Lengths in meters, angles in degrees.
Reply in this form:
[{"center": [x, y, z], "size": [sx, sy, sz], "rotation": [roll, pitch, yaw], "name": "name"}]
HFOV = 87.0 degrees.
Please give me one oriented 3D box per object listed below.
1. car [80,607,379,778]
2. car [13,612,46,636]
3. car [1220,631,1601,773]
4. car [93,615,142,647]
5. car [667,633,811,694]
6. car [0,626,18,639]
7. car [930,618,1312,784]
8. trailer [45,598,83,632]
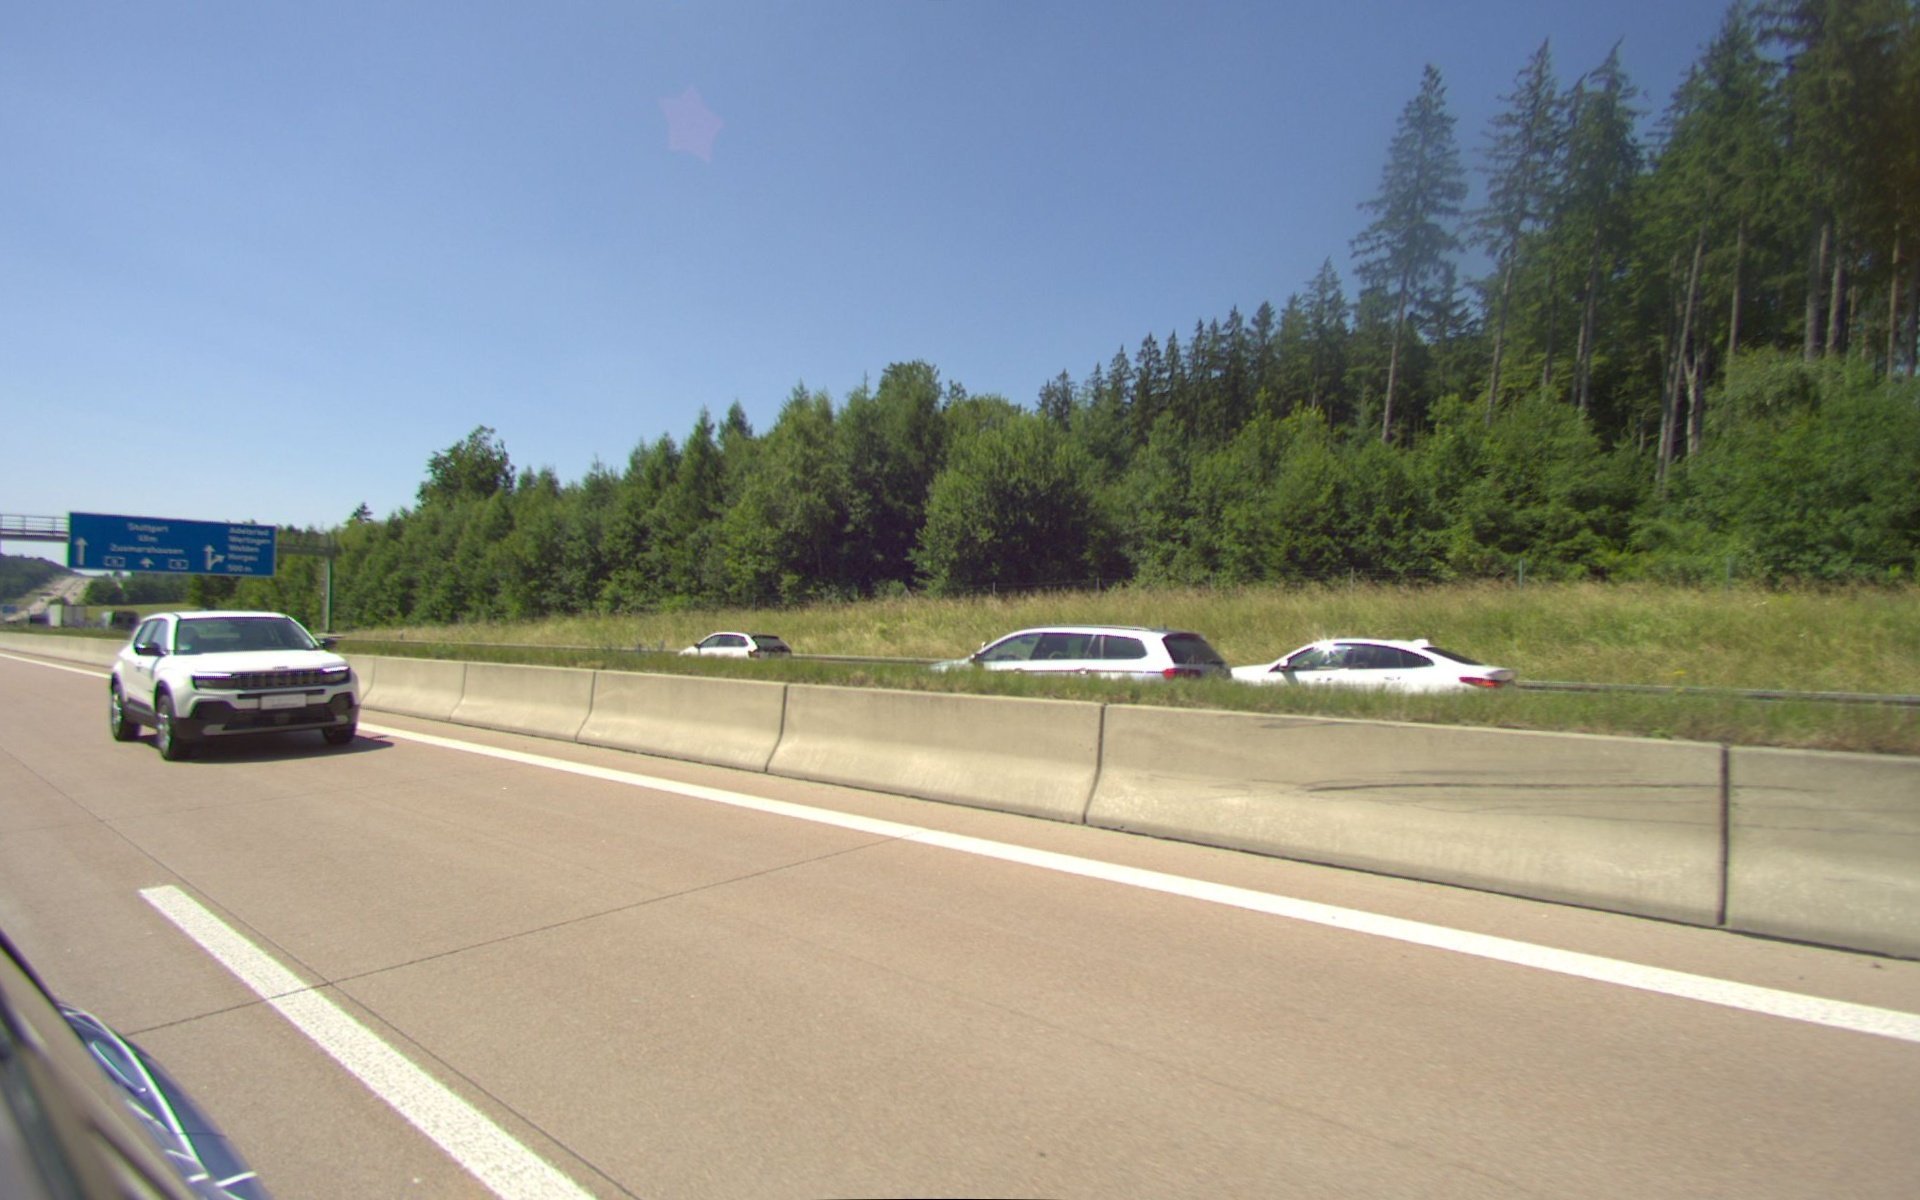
[{"center": [-8.752, 0.920, 11.943], "size": [4.832, 1.619, 1.859], "rotation": [-1, -1, 41], "name": "car"}, {"center": [-109.116, 2.790, 118.702], "size": [6.095, 2.706, 2.209], "rotation": [-1, -1, 41], "name": "car"}, {"center": [6.093, 1.260, 14.019], "size": [4.462, 1.606, 1.871], "rotation": [-1, -1, 41], "name": "car"}, {"center": [-74.136, 2.715, 88.982], "size": [6.883, 2.706, 2.210], "rotation": [-1, -1, 41], "name": "car"}, {"center": [-6.571, 1.804, 29.782], "size": [4.462, 1.606, 1.871], "rotation": [-1, -1, 41], "name": "car"}, {"center": [-130.787, 4.424, 138.823], "size": [3.998, 1.667, 1.871], "rotation": [-1, -1, 41], "name": "car"}, {"center": [1.935, 1.134, 12.900], "size": [4.457, 1.752, 1.873], "rotation": [-1, -1, 37], "name": "car"}, {"center": [-122.323, 2.041, 138.127], "size": [13.193, 4.468, 2.673], "rotation": [-2, -1, 43], "name": "trailer"}]
